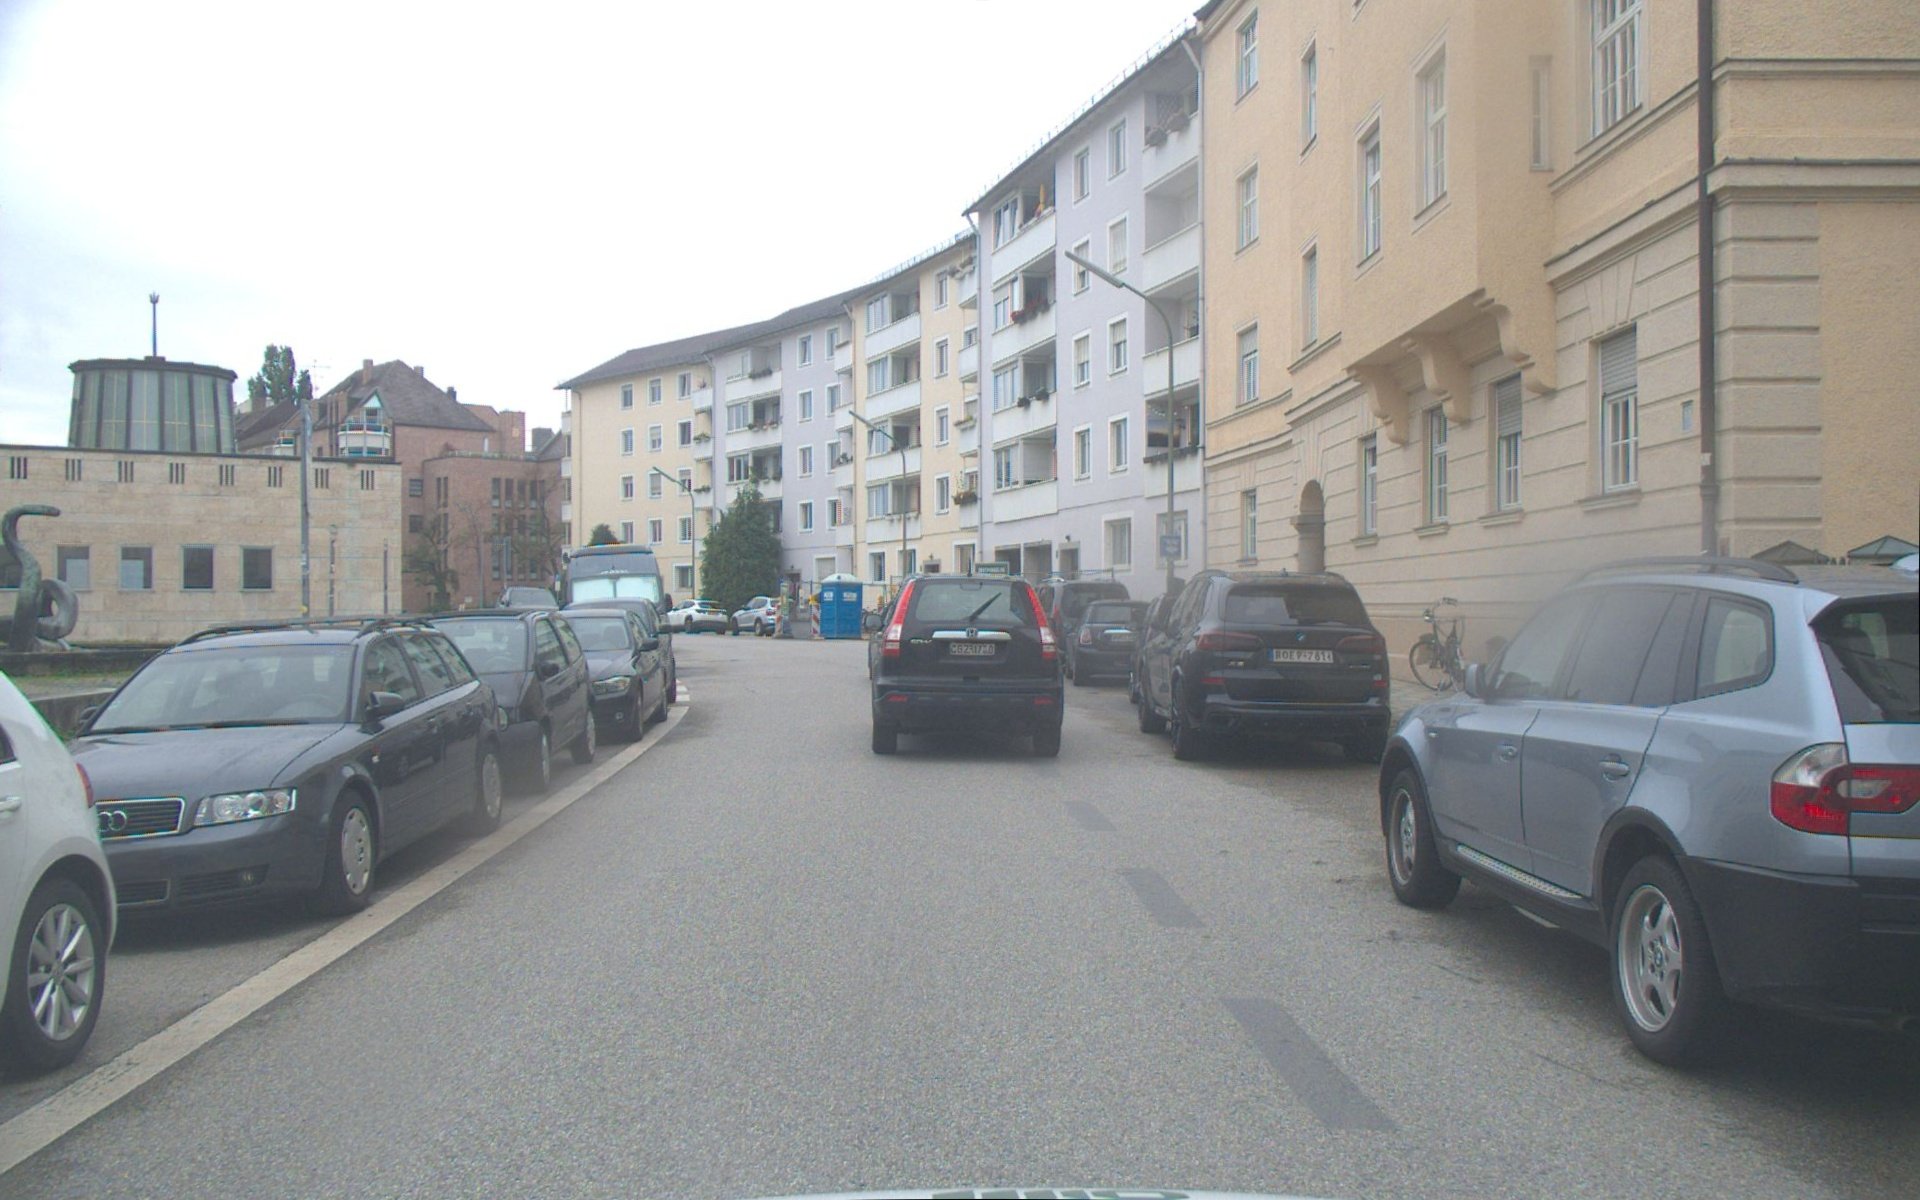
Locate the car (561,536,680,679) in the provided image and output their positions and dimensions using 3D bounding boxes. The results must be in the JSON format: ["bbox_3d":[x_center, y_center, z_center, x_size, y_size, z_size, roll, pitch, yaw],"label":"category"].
[{"bbox_3d":[-7.214,0.129,34.691,2.128,2.688,5.994,-1,0,-14],"label":"car"}]

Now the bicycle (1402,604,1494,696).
[{"bbox_3d":[6.379,0.631,21.696,0.567,1.102,1.953,-3,0,-1],"label":"bicycle"}]

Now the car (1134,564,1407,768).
[{"bbox_3d":[2.975,0.586,16.928,1.831,1.747,4.865,1,0,0],"label":"car"}]

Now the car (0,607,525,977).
[{"bbox_3d":[-3.787,0.824,9.143,1.720,1.479,4.394,-2,0,-2],"label":"car"}]

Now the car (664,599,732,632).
[{"bbox_3d":[-12.568,0.742,79.250,1.709,1.509,3.952,1,0,-34],"label":"car"}]

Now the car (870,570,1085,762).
[{"bbox_3d":[0.048,0.577,16.499,1.853,1.676,3.988,0,0,-4],"label":"car"}]

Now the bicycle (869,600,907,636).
[{"bbox_3d":[-2.881,0.710,65.666,0.953,1.413,2.552,0,0,-16],"label":"bicycle"}]

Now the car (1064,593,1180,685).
[{"bbox_3d":[2.779,0.639,29.034,1.673,1.472,3.830,1,0,0],"label":"car"}]

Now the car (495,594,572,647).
[{"bbox_3d":[-14.771,0.680,57.114,1.659,1.737,4.473,0,0,-27],"label":"car"}]

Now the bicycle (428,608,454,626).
[{"bbox_3d":[-38.613,1.236,123.080,1.736,1.311,0.547,0,0,-32],"label":"bicycle"}]

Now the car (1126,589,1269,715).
[{"bbox_3d":[3.158,0.658,22.442,1.503,1.550,3.111,1,0,1],"label":"car"}]

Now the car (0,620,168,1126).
[{"bbox_3d":[-3.613,0.843,3.970,1.624,1.479,4.070,-2,0,-4],"label":"car"}]

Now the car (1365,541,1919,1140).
[{"bbox_3d":[3.104,0.673,6.850,1.687,1.663,4.456,0,0,-1],"label":"car"}]

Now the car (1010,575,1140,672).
[{"bbox_3d":[2.292,0.455,33.977,1.745,1.838,4.267,1,0,-9],"label":"car"}]

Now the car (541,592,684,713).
[{"bbox_3d":[-4.814,0.688,23.222,1.638,1.528,2.973,-2,0,-6],"label":"car"}]

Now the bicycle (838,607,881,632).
[{"bbox_3d":[-4.454,0.870,73.341,1.840,1.110,0.561,0,0,-23],"label":"bicycle"}]

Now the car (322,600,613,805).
[{"bbox_3d":[-4.058,0.771,14.119,1.624,1.479,3.310,-2,0,-4],"label":"car"}]

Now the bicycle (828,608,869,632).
[{"bbox_3d":[-5.190,0.910,76.995,1.840,1.110,0.641,0,0,-23],"label":"bicycle"}]

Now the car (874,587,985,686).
[{"bbox_3d":[-0.563,0.556,27.299,1.646,1.507,4.083,0,0,-4],"label":"car"}]

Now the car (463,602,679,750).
[{"bbox_3d":[-4.326,0.774,19.023,1.764,1.430,4.450,-2,0,-5],"label":"car"}]

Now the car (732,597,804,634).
[{"bbox_3d":[-8.193,0.641,70.382,1.705,1.509,3.963,1,0,-28],"label":"car"}]

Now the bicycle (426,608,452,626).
[{"bbox_3d":[-38.945,1.263,123.651,1.736,1.311,0.547,0,0,-32],"label":"bicycle"}]
